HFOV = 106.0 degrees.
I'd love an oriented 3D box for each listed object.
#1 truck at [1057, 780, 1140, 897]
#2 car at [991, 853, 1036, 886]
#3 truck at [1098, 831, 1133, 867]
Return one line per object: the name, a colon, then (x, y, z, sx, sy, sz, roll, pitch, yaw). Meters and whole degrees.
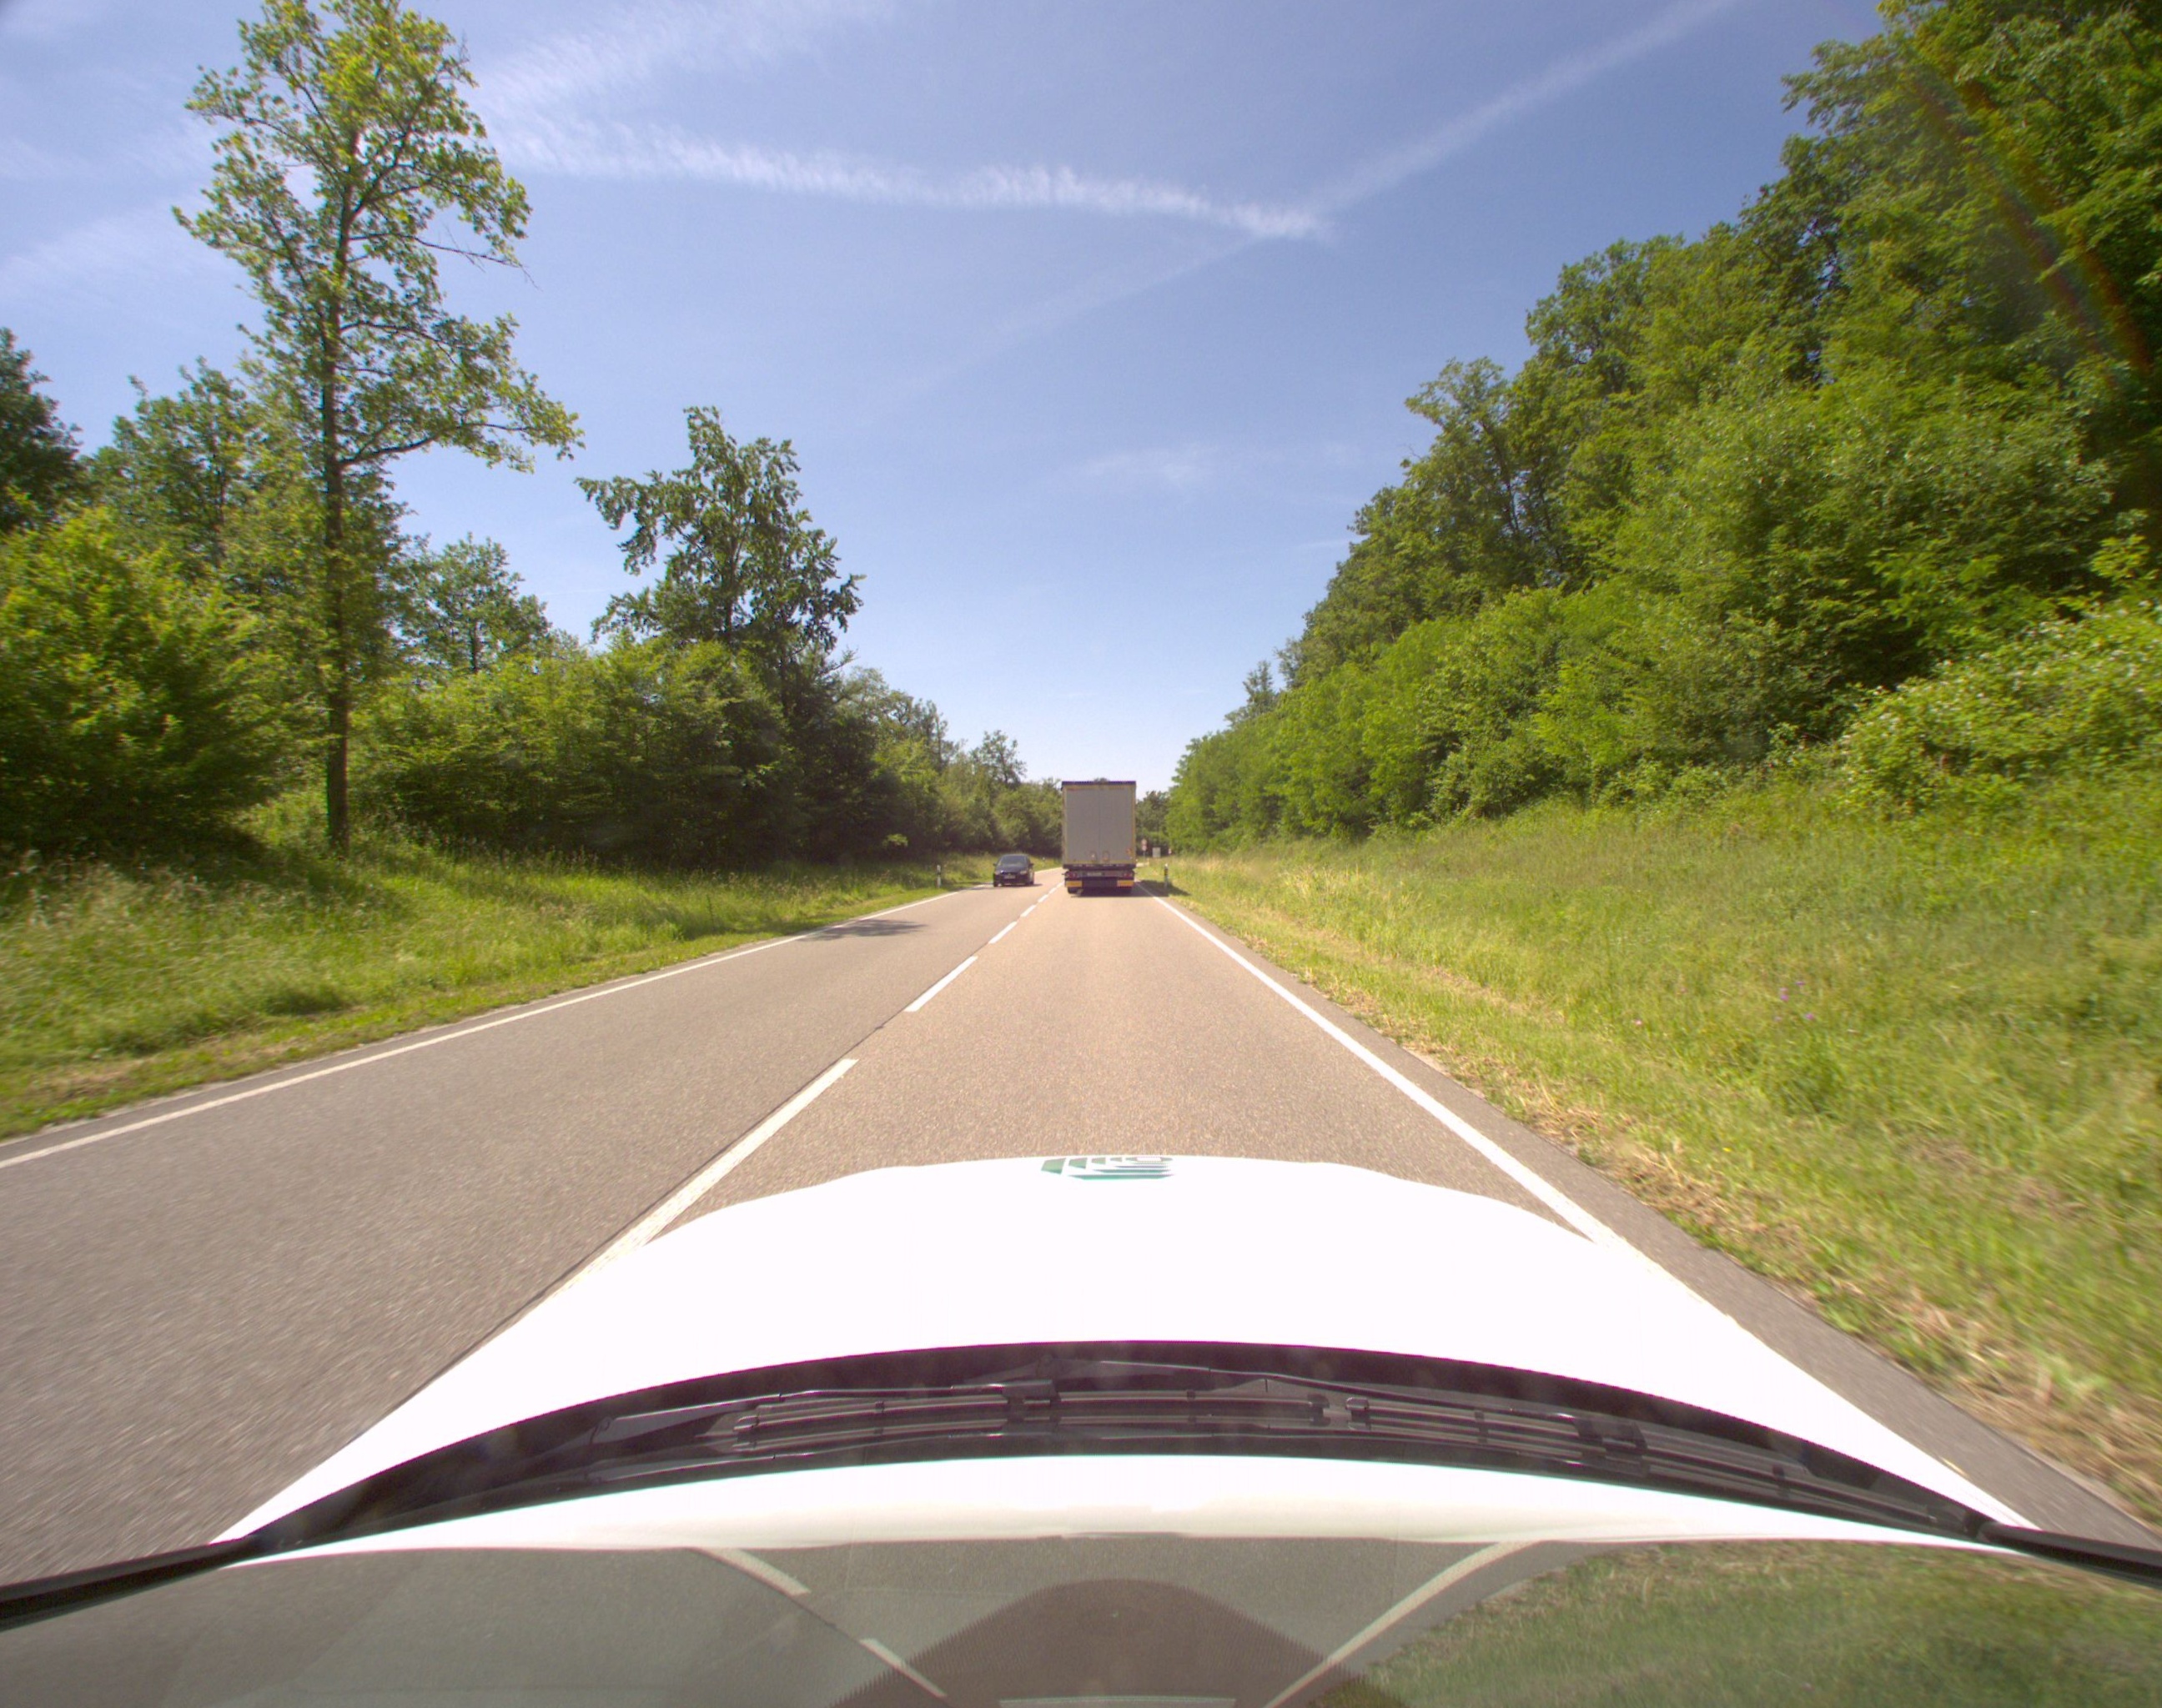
truck: (0.719, -0.550, 33.880, 2.751, 3.947, 12.200, -1, 0, 1)
car: (-3.190, 0.695, 39.112, 1.654, 1.495, 3.807, -1, 0, 2)
truck: (4.733, -0.598, 108.175, 3.775, 4.373, 14.941, 0, 0, 5)
